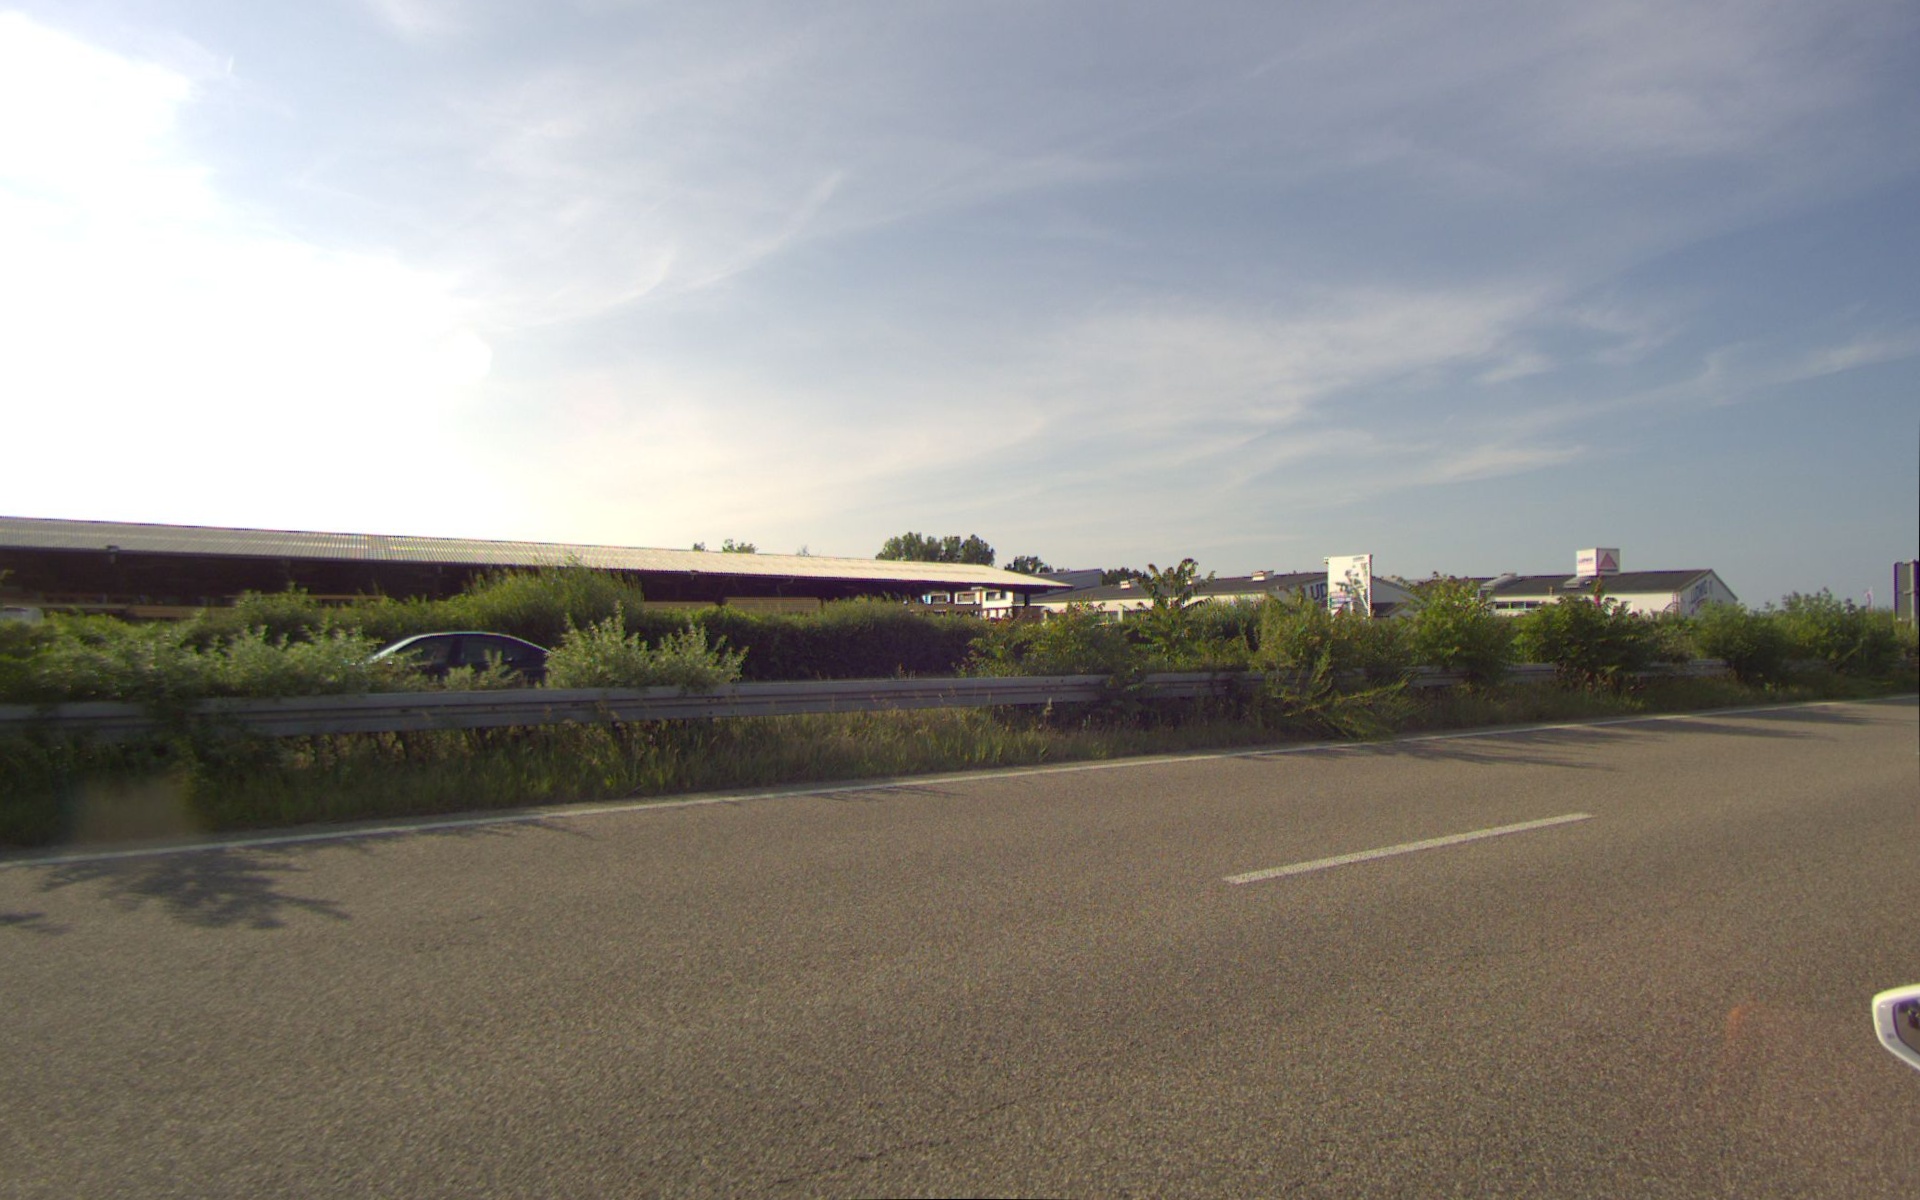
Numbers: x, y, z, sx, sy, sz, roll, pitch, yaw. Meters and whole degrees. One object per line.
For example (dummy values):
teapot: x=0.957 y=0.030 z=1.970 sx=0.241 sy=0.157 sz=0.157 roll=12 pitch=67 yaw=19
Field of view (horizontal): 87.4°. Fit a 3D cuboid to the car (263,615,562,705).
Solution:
car: x=-8.151 y=0.882 z=15.149 sx=3.744 sy=1.173 sz=1.733 roll=3 pitch=-1 yaw=-32
